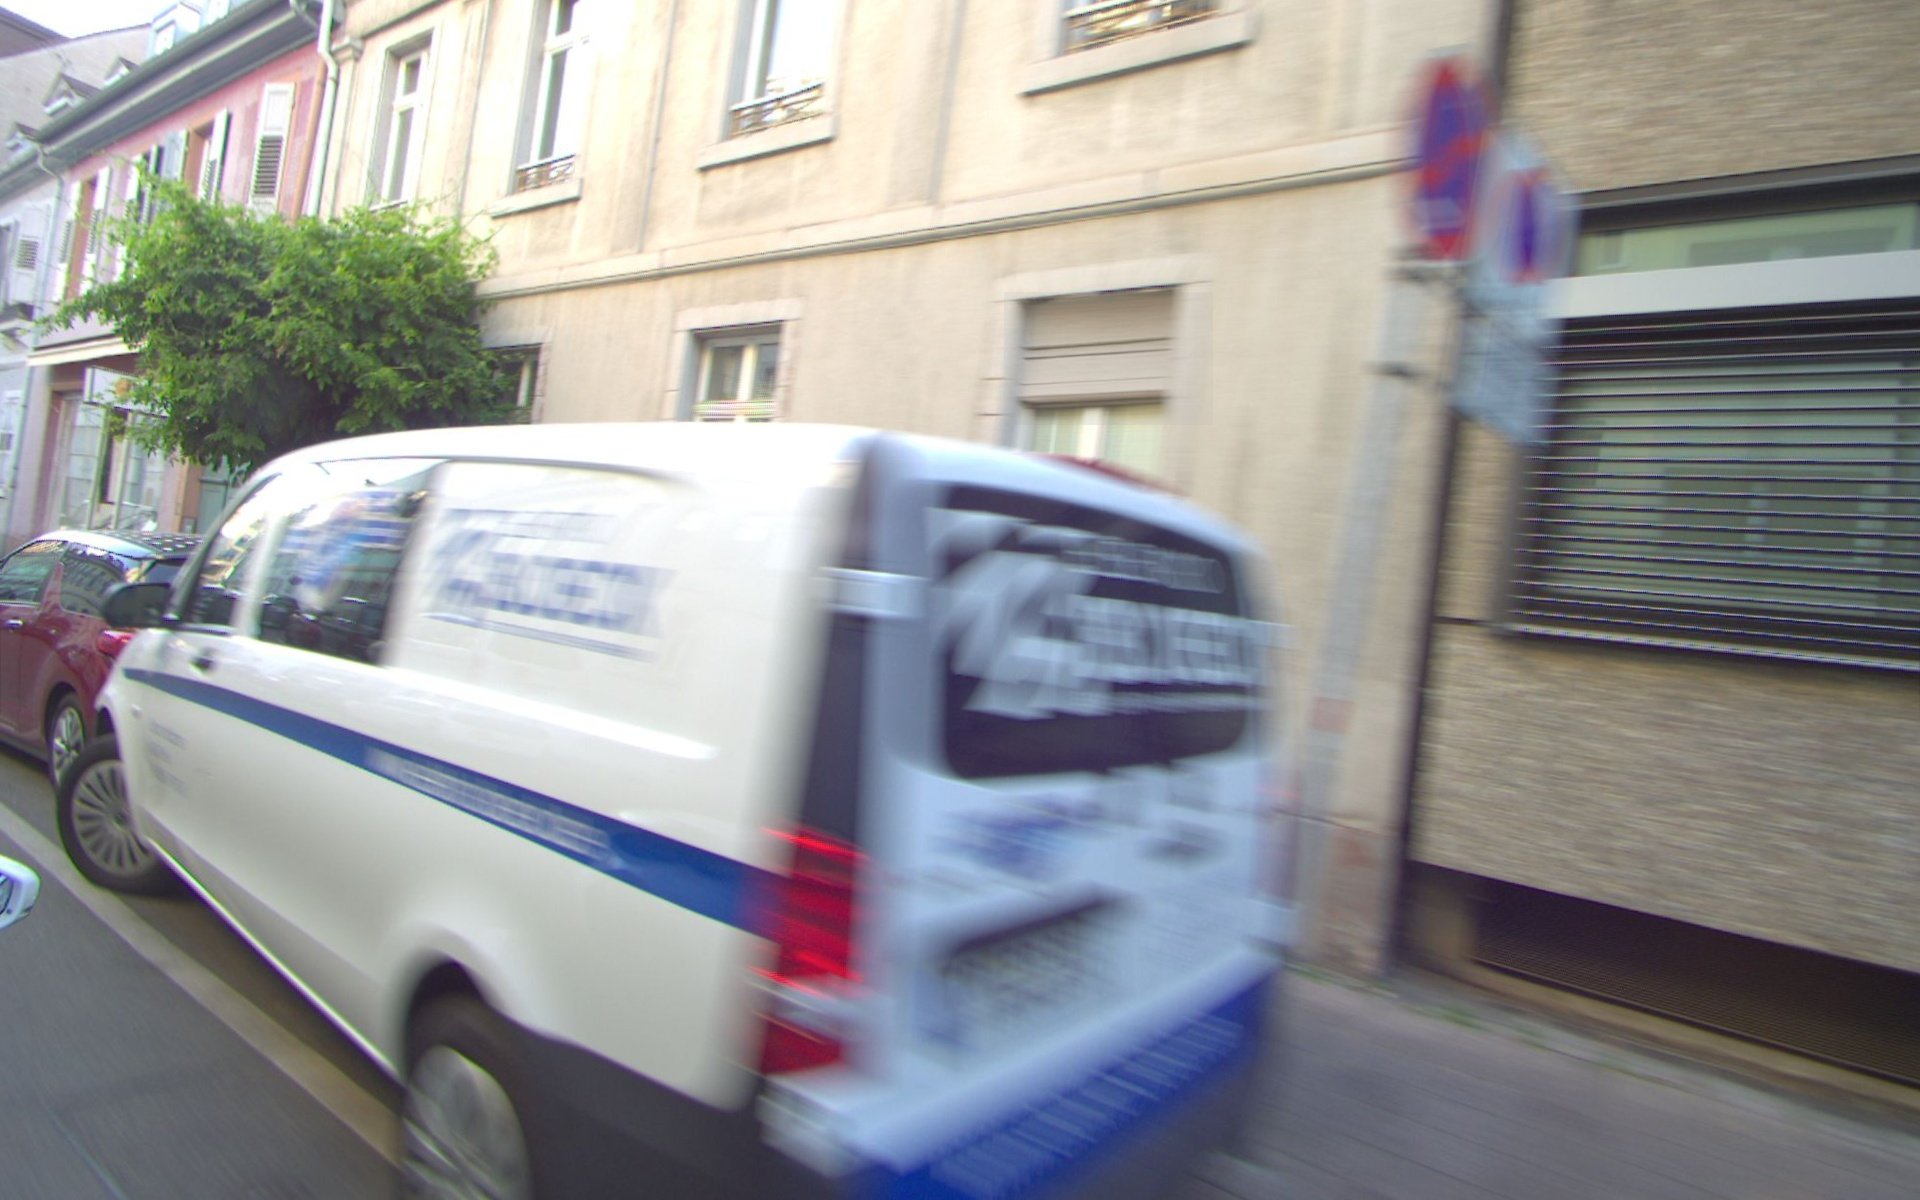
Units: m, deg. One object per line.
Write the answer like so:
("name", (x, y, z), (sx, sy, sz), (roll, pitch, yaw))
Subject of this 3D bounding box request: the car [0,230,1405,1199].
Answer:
("car", (-1.529, 0.416, 3.558), (5.199, 1.920, 1.936), (6, -2, 39))

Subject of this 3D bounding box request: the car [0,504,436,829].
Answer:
("car", (-5.357, 0.271, 6.615), (3.692, 1.522, 1.657), (7, -2, 33))
